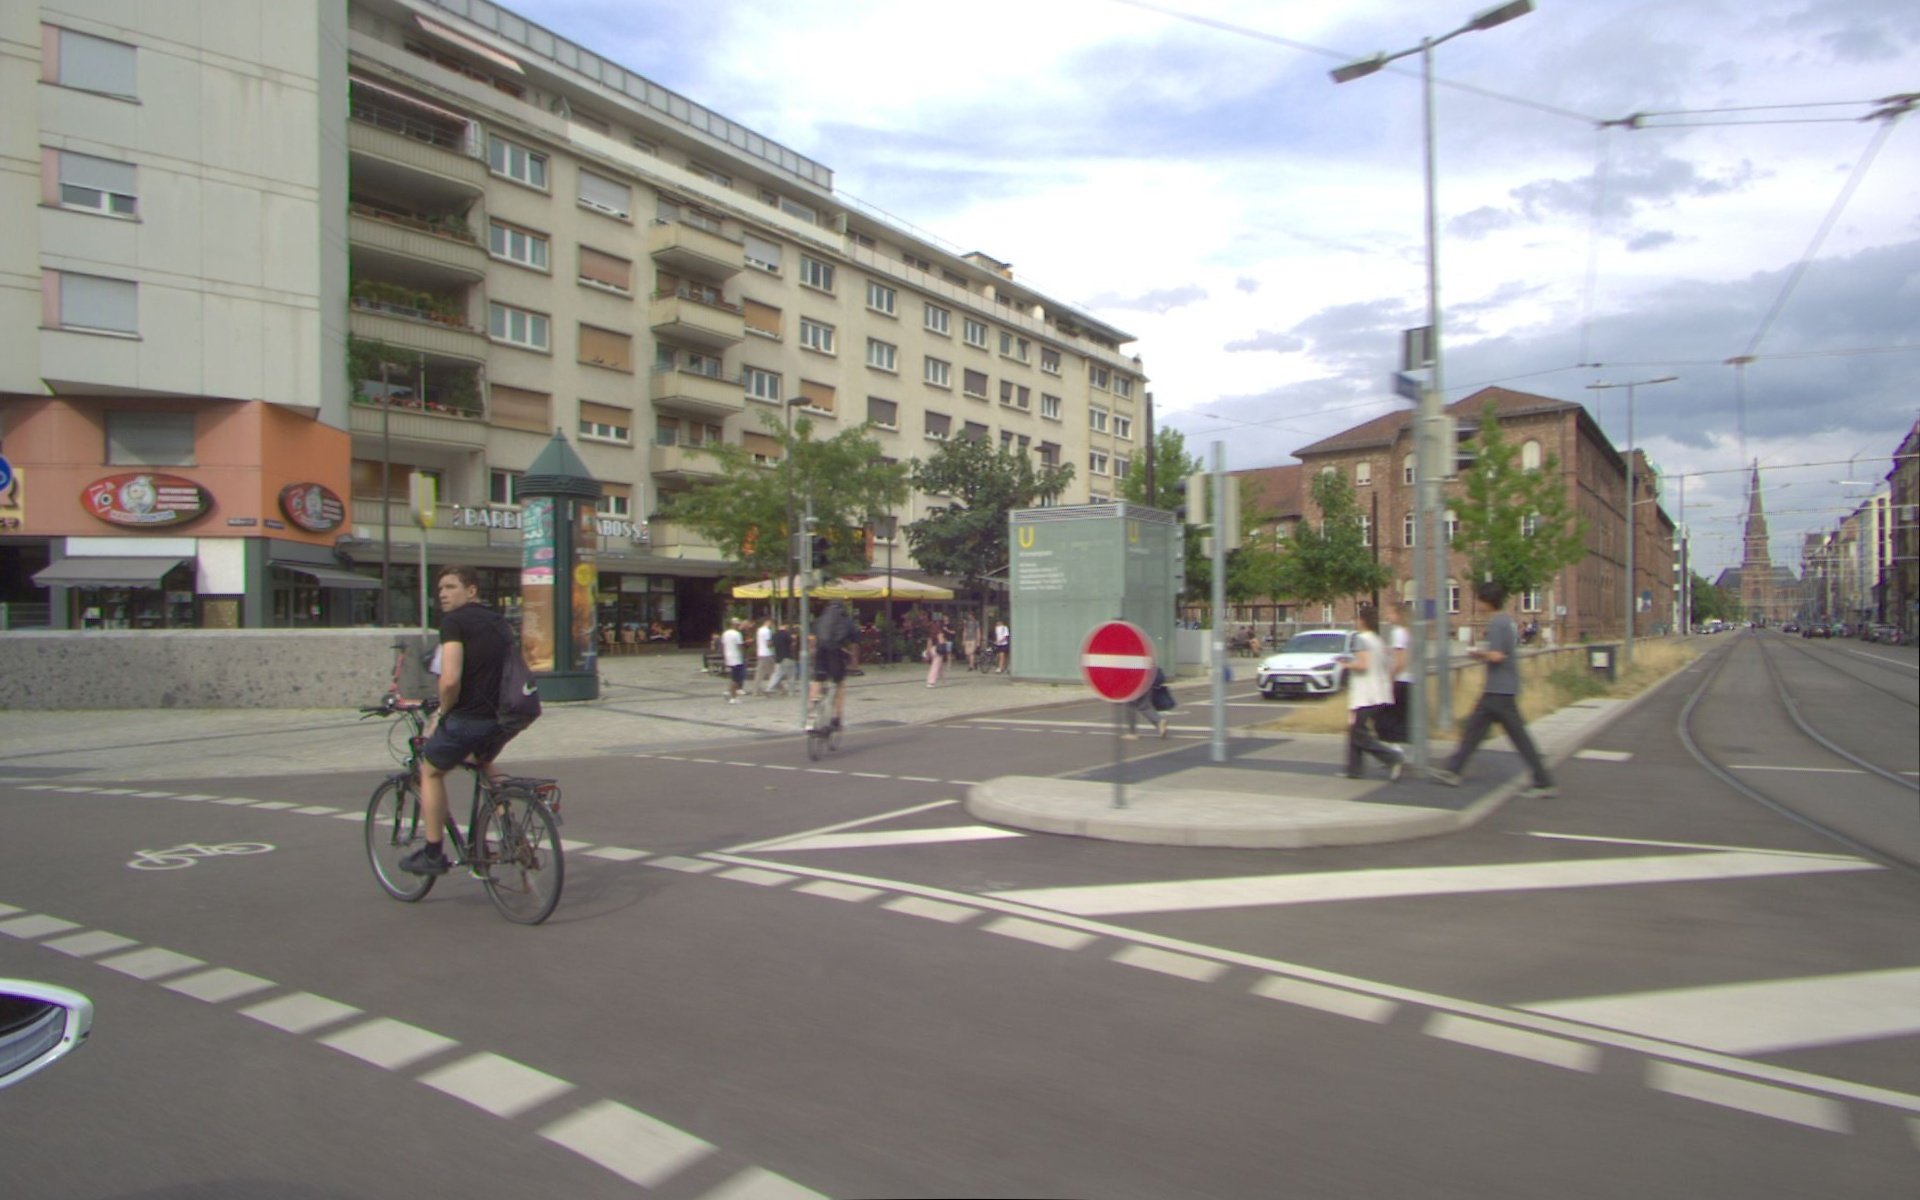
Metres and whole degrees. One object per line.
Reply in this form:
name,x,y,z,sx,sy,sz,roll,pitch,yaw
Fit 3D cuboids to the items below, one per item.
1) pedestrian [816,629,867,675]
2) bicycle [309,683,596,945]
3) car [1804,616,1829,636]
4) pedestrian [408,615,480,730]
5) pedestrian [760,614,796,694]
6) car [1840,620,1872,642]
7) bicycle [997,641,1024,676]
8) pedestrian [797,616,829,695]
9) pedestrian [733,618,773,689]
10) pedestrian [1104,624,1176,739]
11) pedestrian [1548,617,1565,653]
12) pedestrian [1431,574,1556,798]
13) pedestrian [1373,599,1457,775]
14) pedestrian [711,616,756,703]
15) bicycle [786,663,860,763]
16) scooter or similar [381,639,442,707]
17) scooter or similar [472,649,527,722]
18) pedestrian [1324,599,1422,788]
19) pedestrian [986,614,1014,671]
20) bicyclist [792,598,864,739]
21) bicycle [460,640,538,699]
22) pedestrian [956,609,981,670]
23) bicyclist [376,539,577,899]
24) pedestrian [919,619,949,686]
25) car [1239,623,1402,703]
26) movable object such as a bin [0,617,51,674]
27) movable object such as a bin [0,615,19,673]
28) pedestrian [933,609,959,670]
pedestrian,-3.319,1.464,28.055,0.924,1.261,1.026,-1,-3,42
bicycle,-2.814,1.076,5.458,1.987,1.136,0.405,0,0,31
car,92.534,2.821,108.223,1.935,1.927,3.973,-1,-3,39
pedestrian,-8.269,1.133,16.048,0.926,1.763,0.680,0,1,-37
pedestrian,-4.046,1.187,22.283,0.409,1.760,0.696,0,0,39
car,83.207,2.860,93.033,1.976,1.927,3.973,-1,-3,39
bicycle,1.526,1.745,30.033,0.286,1.009,1.134,0,-1,33
pedestrian,-3.313,1.243,22.573,0.409,1.760,0.590,0,0,39
pedestrian,-4.739,1.218,22.911,0.410,1.597,0.815,0,0,40
pedestrian,2.471,1.104,13.702,0.833,1.520,0.551,-2,-1,23
pedestrian,34.066,1.982,57.199,0.750,2.040,0.902,0,0,36
pedestrian,4.743,0.729,8.908,0.866,1.879,0.636,0,0,39
pedestrian,4.597,0.852,10.153,0.694,1.717,0.634,0,0,19
pedestrian,-4.582,1.191,20.251,0.792,1.702,0.625,2,-1,-17
bicycle,-1.717,1.395,12.780,0.384,1.136,1.920,-2,-2,9
scooter or similar,-10.125,1.346,18.491,1.105,1.228,0.286,0,0,16
scooter or similar,-7.614,1.396,16.547,0.694,1.125,0.603,-1,1,-38
pedestrian,3.905,0.855,9.474,0.785,1.708,0.467,0,0,35
pedestrian,1.247,1.313,31.083,0.576,1.727,0.636,2,1,34
bicyclist,-1.676,0.856,12.816,0.686,1.732,0.907,0,0,8
bicycle,-9.526,1.406,20.781,0.534,1.027,2.448,0,1,-1
pedestrian,0.273,1.251,31.599,0.576,1.892,0.487,2,1,35
bicyclist,-2.534,0.580,5.257,0.849,1.732,0.558,0,0,28
pedestrian,-0.646,1.309,25.331,0.434,1.662,0.673,0,0,39
car,8.057,1.297,22.138,1.976,1.531,4.568,0,-1,40
movable object such as a bin,-26.029,1.228,27.533,1.145,1.535,1.005,0,0,-7
movable object such as a bin,-25.875,1.158,26.309,1.174,1.535,1.197,0,0,-7
pedestrian,-0.436,1.232,31.510,0.576,1.892,0.545,2,1,35
